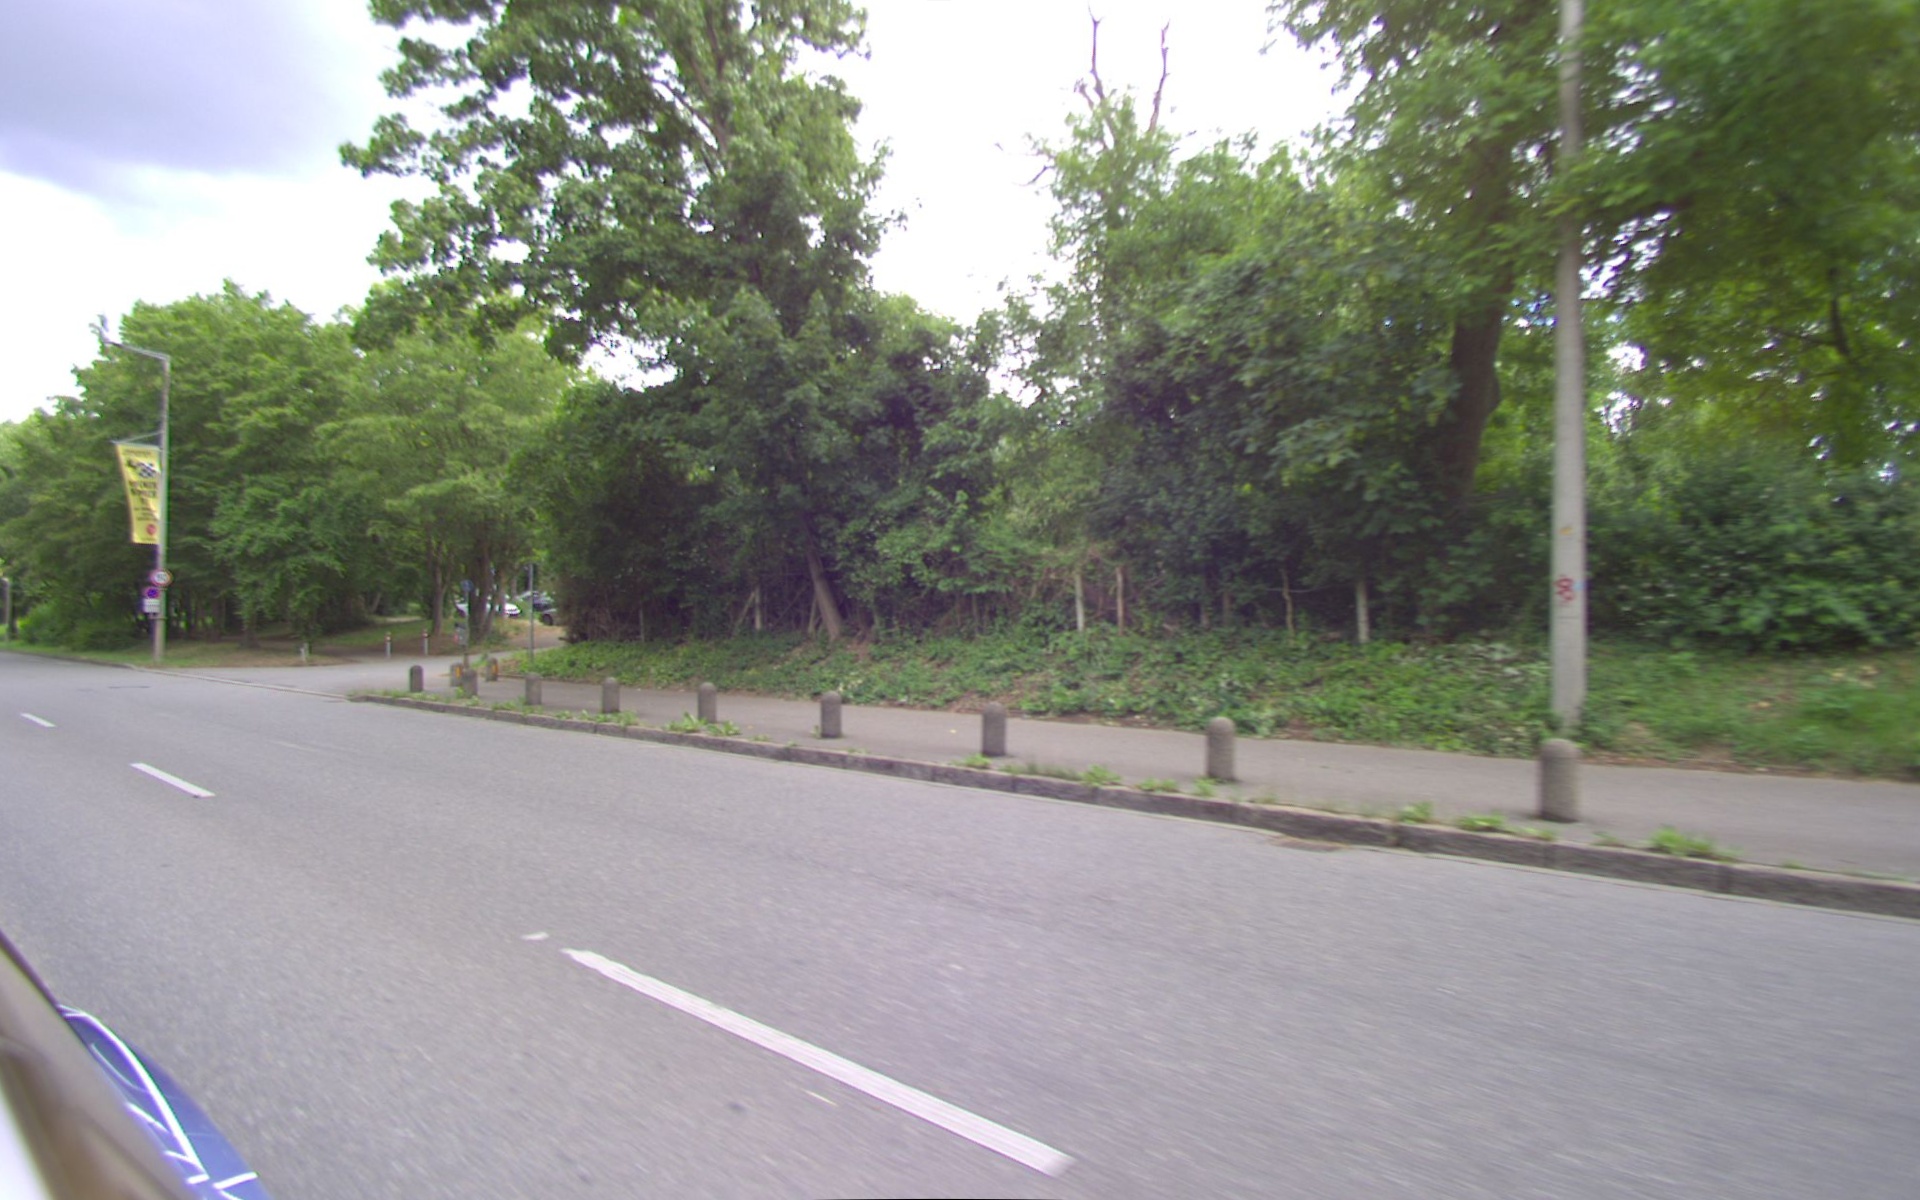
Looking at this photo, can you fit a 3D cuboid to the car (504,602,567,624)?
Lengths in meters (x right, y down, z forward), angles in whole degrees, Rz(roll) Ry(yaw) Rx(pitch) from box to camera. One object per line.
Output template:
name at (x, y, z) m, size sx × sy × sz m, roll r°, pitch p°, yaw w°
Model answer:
car at (-29.879, 0.914, 71.272) m, size 3.966 × 1.497 × 1.642 m, roll -1°, pitch -1°, yaw 17°

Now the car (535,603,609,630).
car at (-21.523, 0.921, 56.168) m, size 3.553 × 1.391 × 1.641 m, roll -2°, pitch 1°, yaw 14°

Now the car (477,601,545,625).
car at (-29.500, 0.869, 66.525) m, size 3.966 × 1.497 × 1.642 m, roll -1°, pitch -1°, yaw 17°

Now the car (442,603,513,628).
car at (-30.383, 0.957, 63.707) m, size 3.966 × 1.497 × 1.642 m, roll -1°, pitch -1°, yaw 17°
